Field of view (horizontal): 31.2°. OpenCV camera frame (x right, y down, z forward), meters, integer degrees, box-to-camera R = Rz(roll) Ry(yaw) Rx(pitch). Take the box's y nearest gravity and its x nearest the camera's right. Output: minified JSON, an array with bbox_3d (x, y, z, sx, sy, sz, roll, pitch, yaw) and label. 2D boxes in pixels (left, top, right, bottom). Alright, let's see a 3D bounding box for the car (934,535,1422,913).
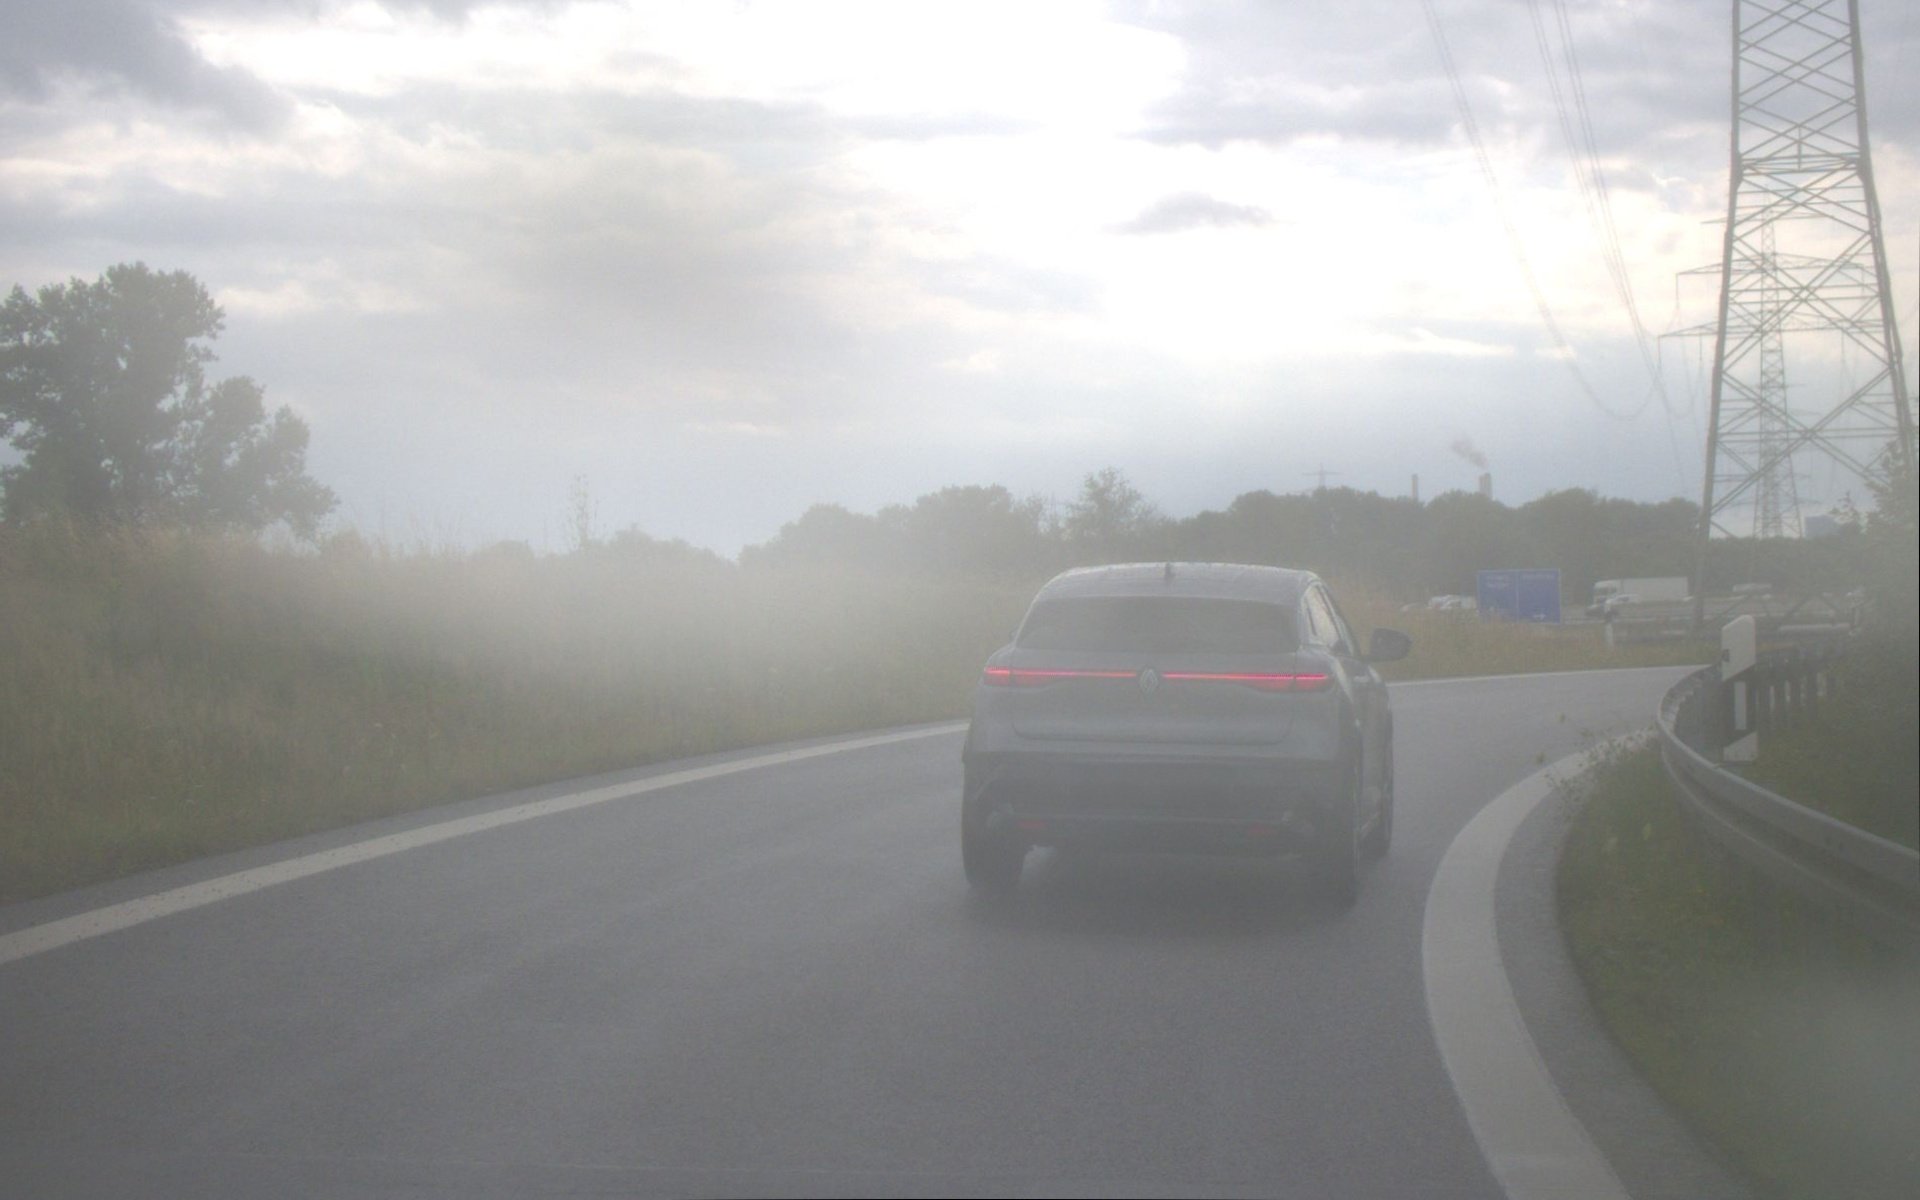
[{"bbox_3d":[1.214,0.495,17.044,1.994,1.561,4.148,2,1,9],"label":"car"}]
